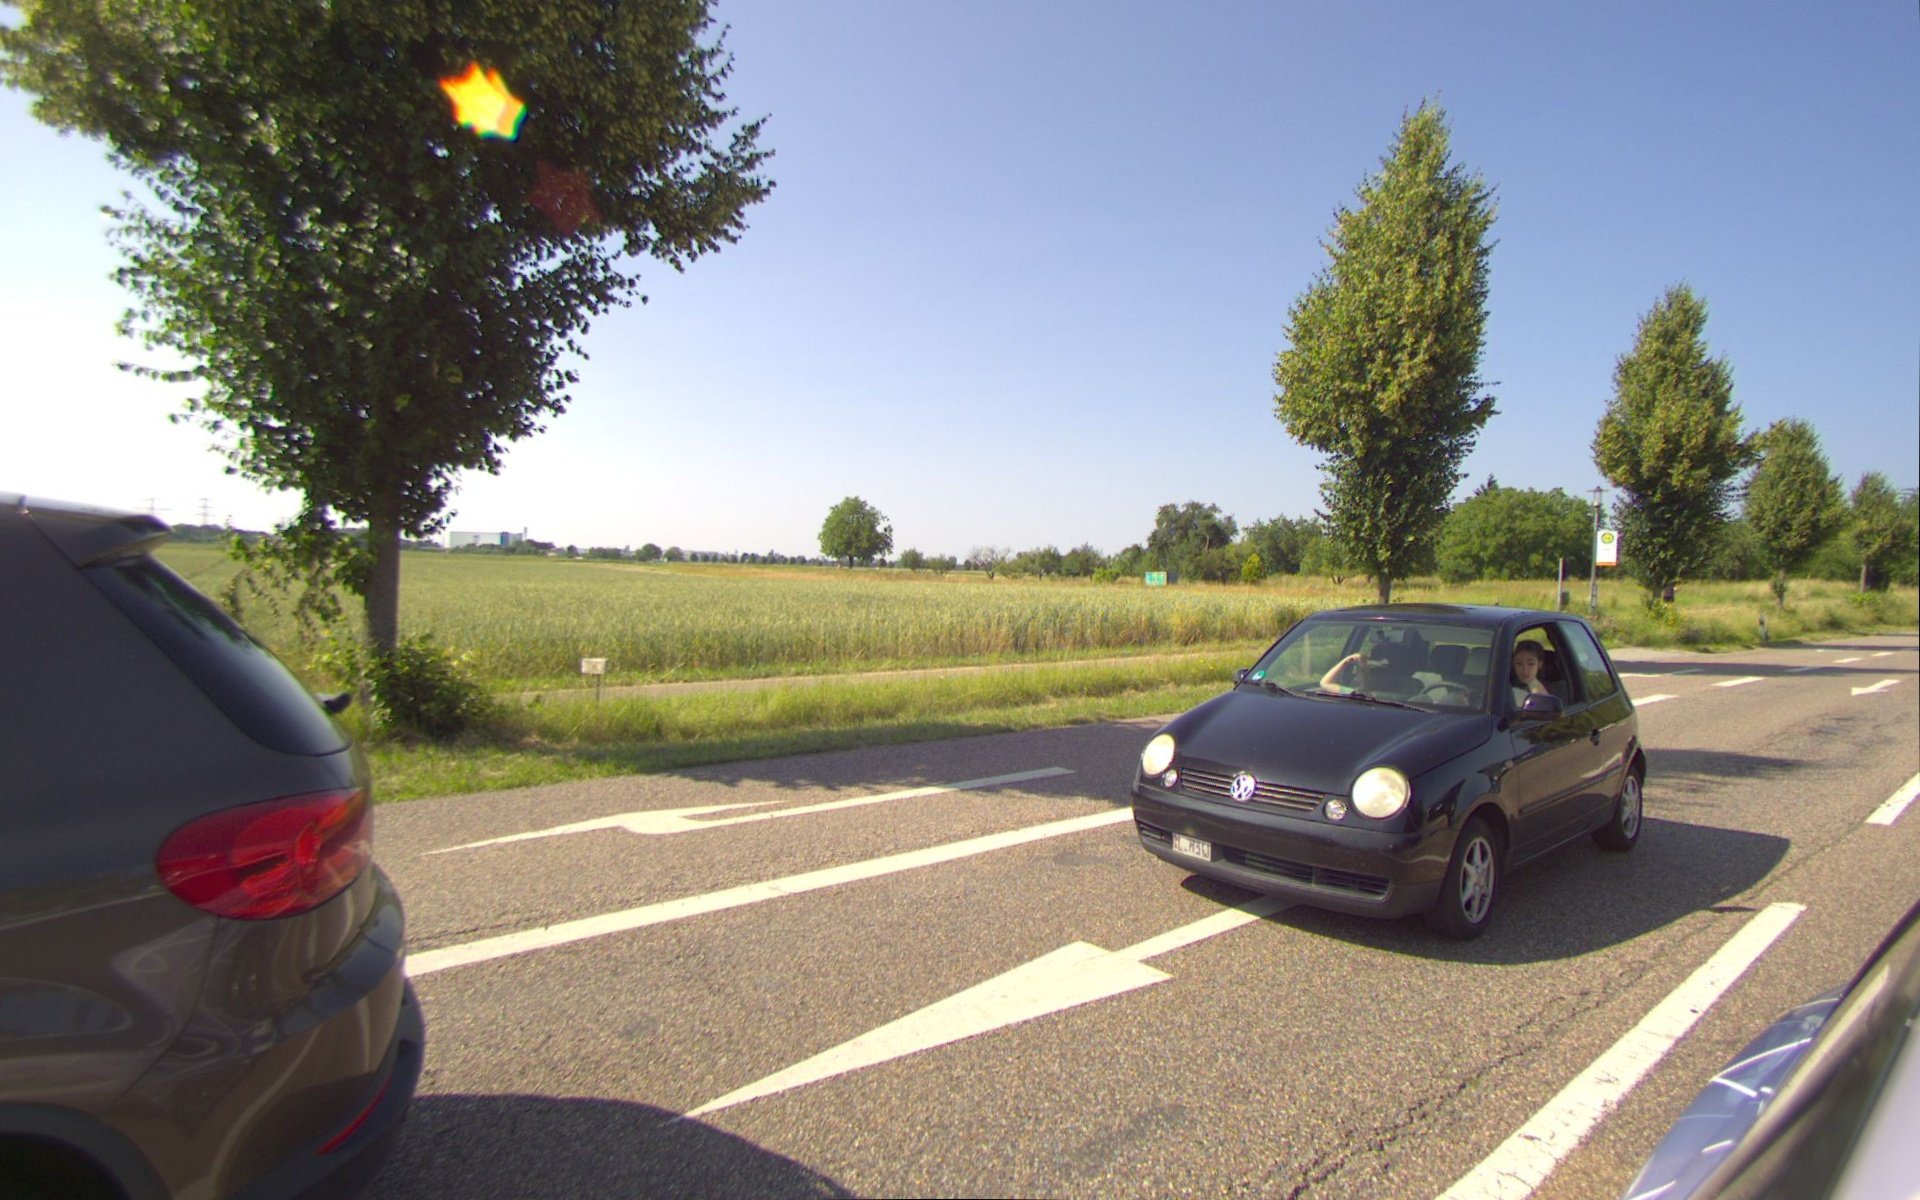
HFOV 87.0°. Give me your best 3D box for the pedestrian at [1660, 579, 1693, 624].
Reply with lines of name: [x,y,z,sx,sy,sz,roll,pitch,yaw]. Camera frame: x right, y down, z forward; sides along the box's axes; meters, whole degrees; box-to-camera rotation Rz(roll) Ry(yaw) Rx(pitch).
pedestrian: [30.638,0.069,43.272,1.174,1.862,0.903,0,2,-43]

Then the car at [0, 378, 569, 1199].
car: [-2.786,0.552,1.096,4.075,1.676,1.758,0,0,-42]

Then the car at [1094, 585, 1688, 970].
car: [2.543,0.657,5.606,3.559,1.451,1.628,0,0,-41]
